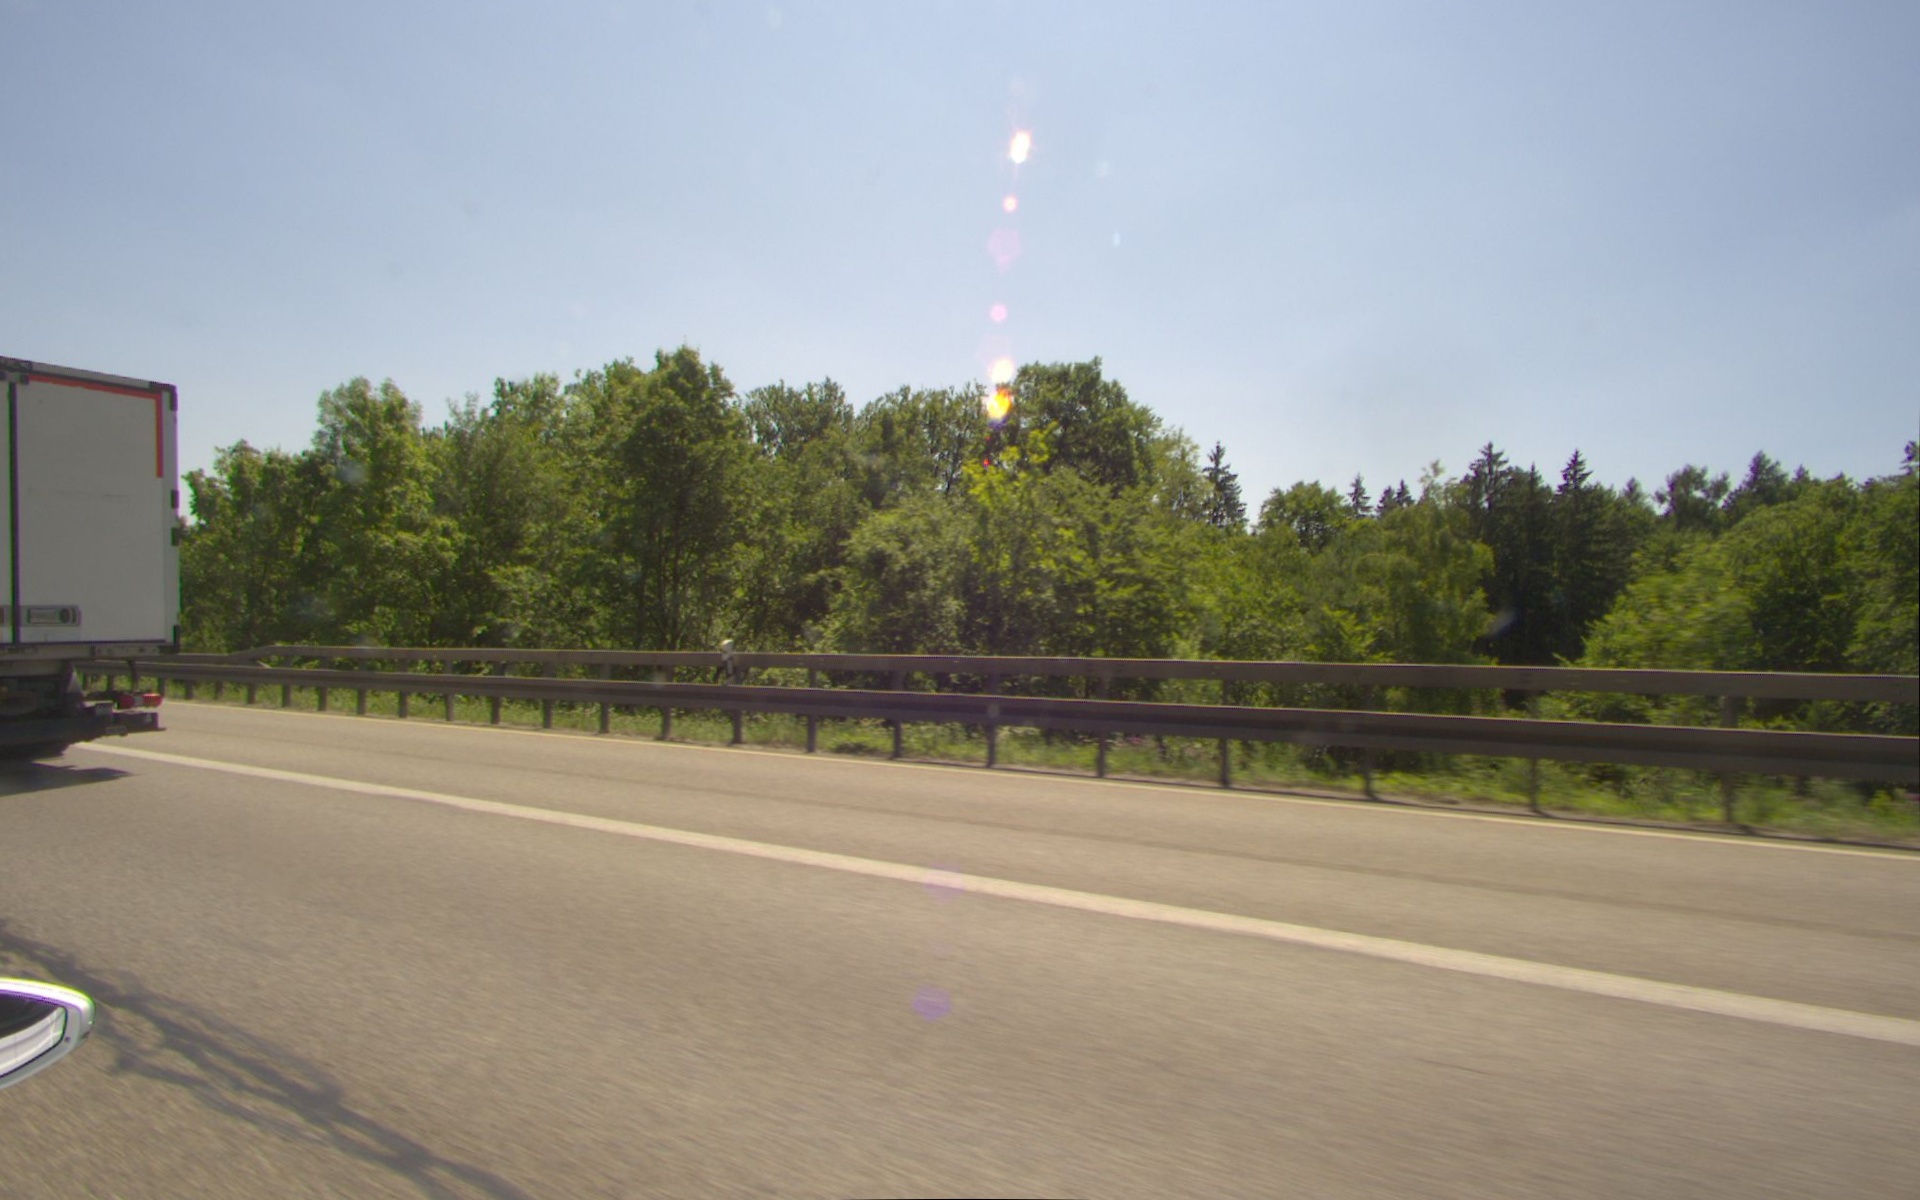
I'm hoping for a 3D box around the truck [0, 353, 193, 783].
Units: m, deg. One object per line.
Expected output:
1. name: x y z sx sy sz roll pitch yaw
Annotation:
1. truck: -12.809 -0.234 11.752 9.635 3.926 2.684 -1 -1 31
